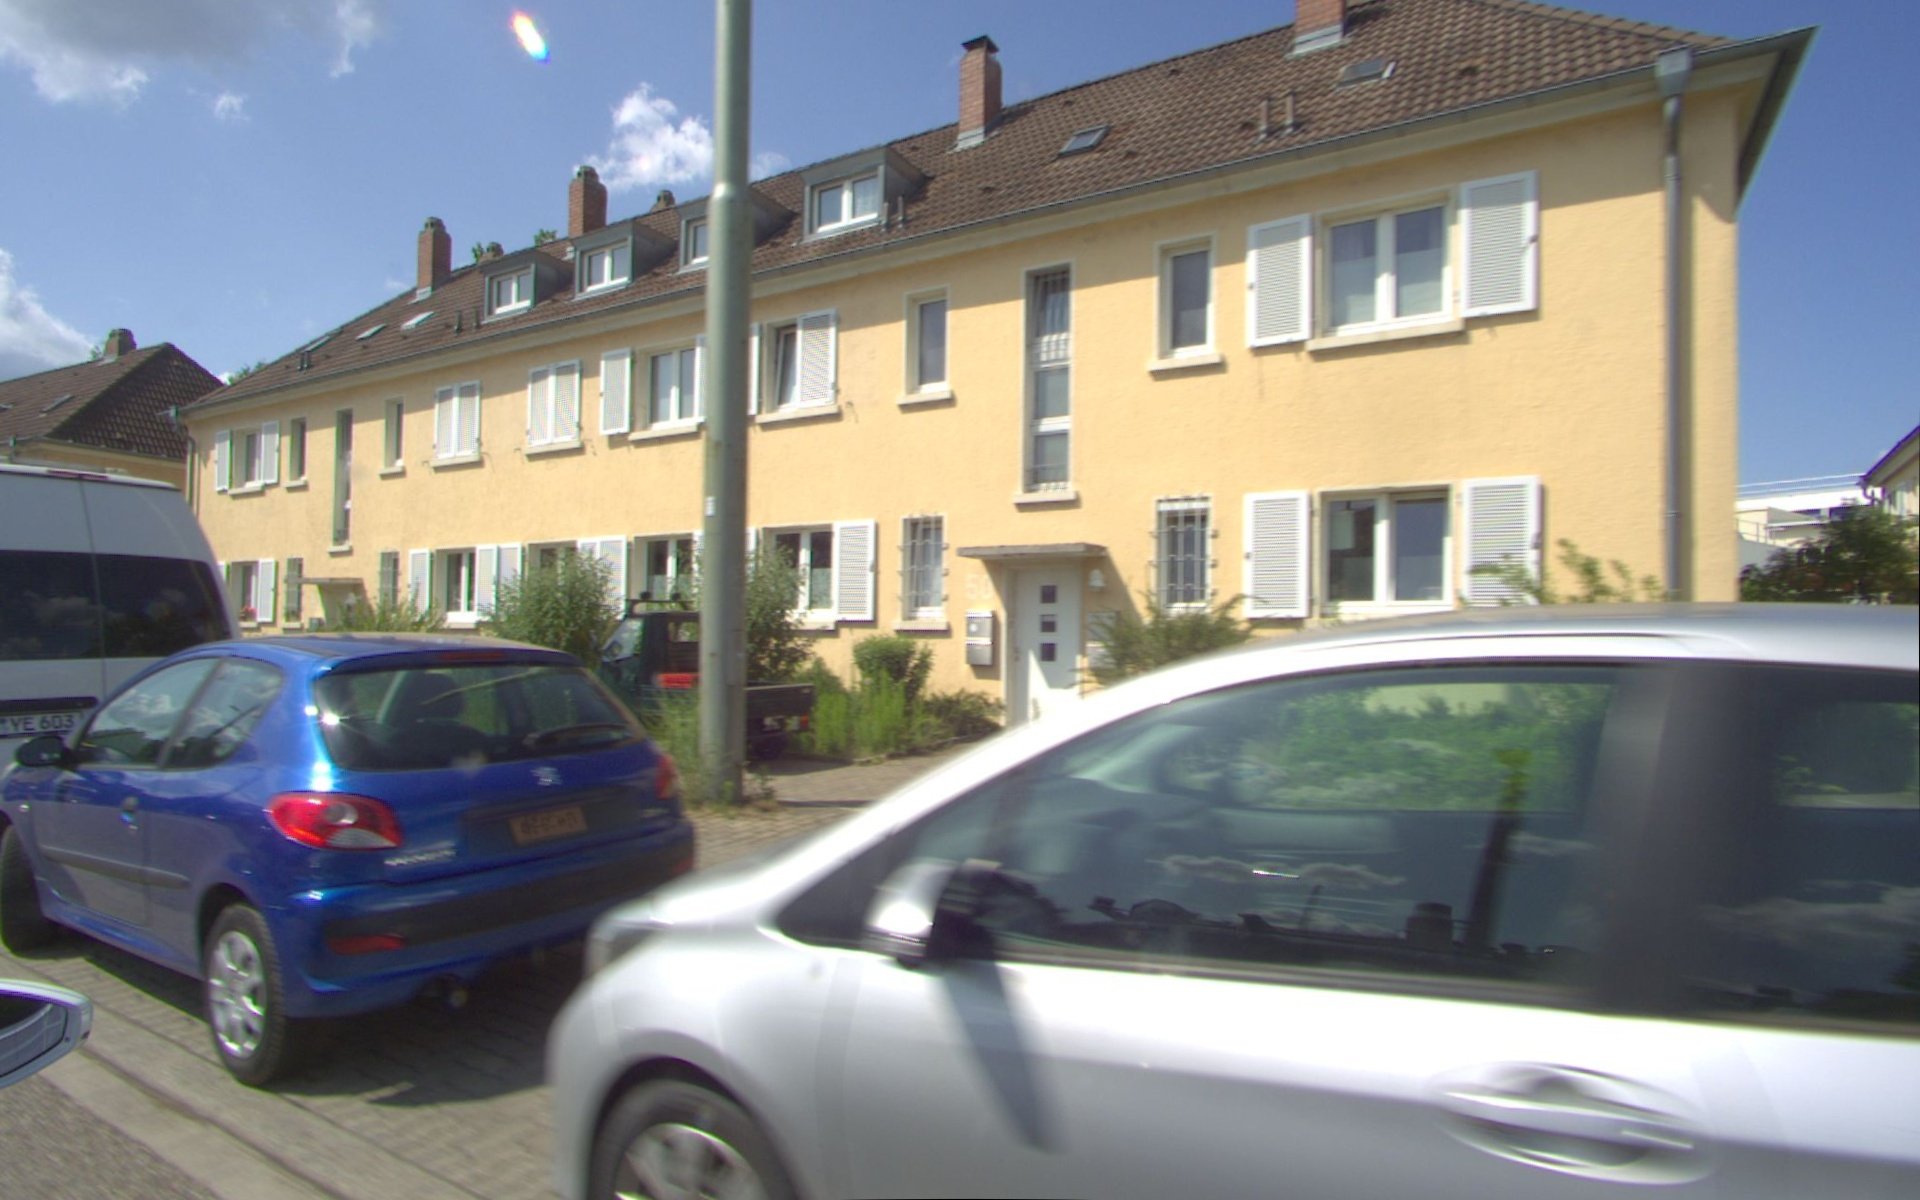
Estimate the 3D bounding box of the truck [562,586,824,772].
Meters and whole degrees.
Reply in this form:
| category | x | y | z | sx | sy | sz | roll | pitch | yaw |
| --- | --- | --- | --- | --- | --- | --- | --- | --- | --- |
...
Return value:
| category | x | y | z | sx | sy | sz | roll | pitch | yaw |
| --- | --- | --- | --- | --- | --- | --- | --- | --- | --- |
| truck | -2.779 | 0.765 | 10.397 | 2.406 | 1.710 | 1.344 | -1 | -2 | 32 |

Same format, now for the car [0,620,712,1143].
| category | x | y | z | sx | sy | sz | roll | pitch | yaw |
| --- | --- | --- | --- | --- | --- | --- | --- | --- | --- |
| car | -3.001 | 0.850 | 4.499 | 3.684 | 1.463 | 1.534 | 0 | -2 | 33 |

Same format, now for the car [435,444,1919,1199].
| category | x | y | z | sx | sy | sz | roll | pitch | yaw |
| --- | --- | --- | --- | --- | --- | --- | --- | --- | --- |
| car | 0.882 | 0.697 | 1.984 | 3.972 | 1.623 | 1.634 | 0 | -2 | 33 |

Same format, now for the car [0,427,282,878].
| category | x | y | z | sx | sy | sz | roll | pitch | yaw |
| --- | --- | --- | --- | --- | --- | --- | --- | --- | --- |
| car | -7.428 | 0.324 | 7.391 | 5.437 | 2.513 | 1.926 | 0 | -1 | 31 |
